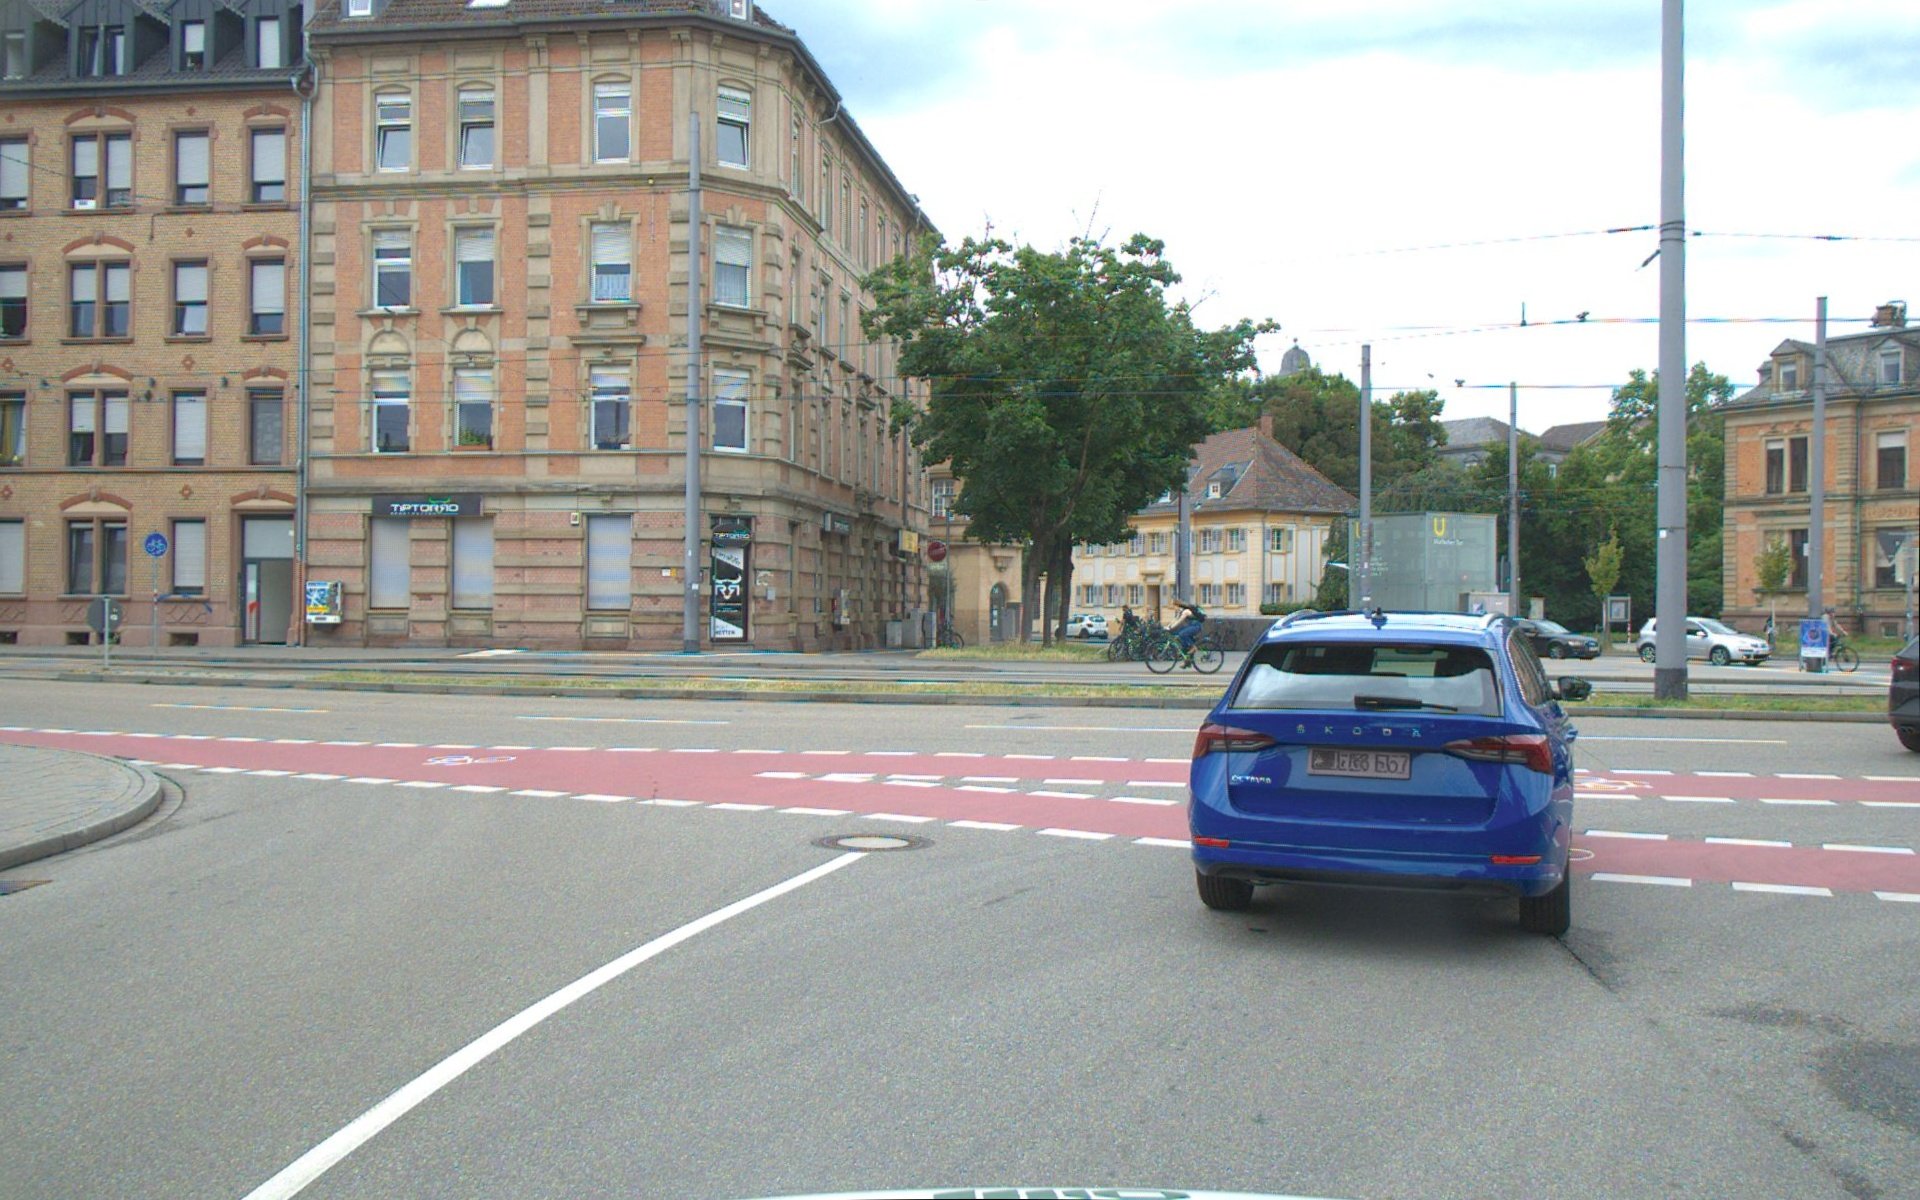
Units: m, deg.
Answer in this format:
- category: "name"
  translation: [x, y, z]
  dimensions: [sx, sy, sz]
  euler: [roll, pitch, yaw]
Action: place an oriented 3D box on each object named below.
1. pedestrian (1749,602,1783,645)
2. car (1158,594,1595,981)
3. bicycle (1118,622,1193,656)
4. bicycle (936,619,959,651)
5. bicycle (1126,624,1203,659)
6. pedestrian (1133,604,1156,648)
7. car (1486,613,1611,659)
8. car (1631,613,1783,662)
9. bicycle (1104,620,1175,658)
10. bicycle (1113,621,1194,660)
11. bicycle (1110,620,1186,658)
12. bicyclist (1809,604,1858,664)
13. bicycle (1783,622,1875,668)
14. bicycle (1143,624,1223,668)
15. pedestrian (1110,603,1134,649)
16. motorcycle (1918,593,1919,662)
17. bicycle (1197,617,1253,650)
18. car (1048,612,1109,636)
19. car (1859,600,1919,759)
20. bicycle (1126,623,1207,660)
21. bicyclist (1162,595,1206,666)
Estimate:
- category: "pedestrian"
  translation: [34.440, 1.005, 70.677]
  dimensions: [0.752, 1.794, 1.110]
  euler: [1, -1, -42]
- category: "car"
  translation: [2.483, 0.760, 8.929]
  dimensions: [1.743, 1.514, 4.465]
  euler: [0, -1, 21]
- category: "bicycle"
  translation: [5.933, 1.173, 50.220]
  dimensions: [2.167, 1.004, 0.585]
  euler: [0, 0, 19]
- category: "bicycle"
  translation: [-0.392, 1.051, 49.995]
  dimensions: [0.647, 0.930, 1.989]
  euler: [0, 0, -2]
- category: "bicycle"
  translation: [6.056, 1.217, 48.994]
  dimensions: [2.167, 1.004, 0.585]
  euler: [0, 0, 19]
- category: "pedestrian"
  translation: [7.447, 1.031, 66.612]
  dimensions: [0.826, 1.753, 0.953]
  euler: [0, 0, 13]
- category: "car"
  translation: [20.234, 1.218, 56.996]
  dimensions: [1.670, 1.474, 4.109]
  euler: [0, 0, -25]
- category: "car"
  translation: [23.300, 1.141, 51.732]
  dimensions: [1.737, 1.479, 4.119]
  euler: [0, 0, -30]
- category: "bicycle"
  translation: [4.787, 1.042, 44.191]
  dimensions: [1.824, 1.004, 0.500]
  euler: [0, -1, 18]
- category: "bicycle"
  translation: [5.313, 1.103, 45.410]
  dimensions: [2.167, 1.024, 0.480]
  euler: [0, 0, 19]
- category: "bicycle"
  translation: [5.094, 1.060, 44.888]
  dimensions: [1.989, 1.004, 0.522]
  euler: [0, 0, 19]
- category: "bicyclist"
  translation: [24.306, 0.944, 46.034]
  dimensions: [0.843, 1.651, 0.908]
  euler: [1, -1, -30]
- category: "bicycle"
  translation: [24.228, 1.246, 46.152]
  dimensions: [0.845, 1.229, 2.175]
  euler: [1, -1, -30]
- category: "bicycle"
  translation: [4.790, 0.982, 35.587]
  dimensions: [1.678, 0.931, 0.608]
  euler: [0, 0, 5]
- category: "pedestrian"
  translation: [6.270, 0.986, 64.031]
  dimensions: [0.826, 1.753, 0.953]
  euler: [0, 0, 13]
- category: "motorcycle"
  translation: [29.937, 0.806, 47.736]
  dimensions: [1.674, 2.049, 3.648]
  euler: [0, 0, -31]
- category: "bicycle"
  translation: [9.496, 1.178, 59.355]
  dimensions: [0.729, 1.134, 2.341]
  euler: [0, 0, -28]
- category: "car"
  translation: [7.355, 1.472, 103.242]
  dimensions: [1.676, 1.474, 4.139]
  euler: [0, 0, -33]
- category: "car"
  translation: [10.693, 0.743, 15.930]
  dimensions: [3.750, 1.474, 1.697]
  euler: [0, 0, -25]
- category: "bicycle"
  translation: [5.753, 1.141, 46.081]
  dimensions: [2.167, 1.004, 0.500]
  euler: [0, 0, 19]
- category: "bicyclist"
  translation: [4.813, 0.648, 35.597]
  dimensions: [0.919, 1.520, 0.664]
  euler: [0, 0, 6]
